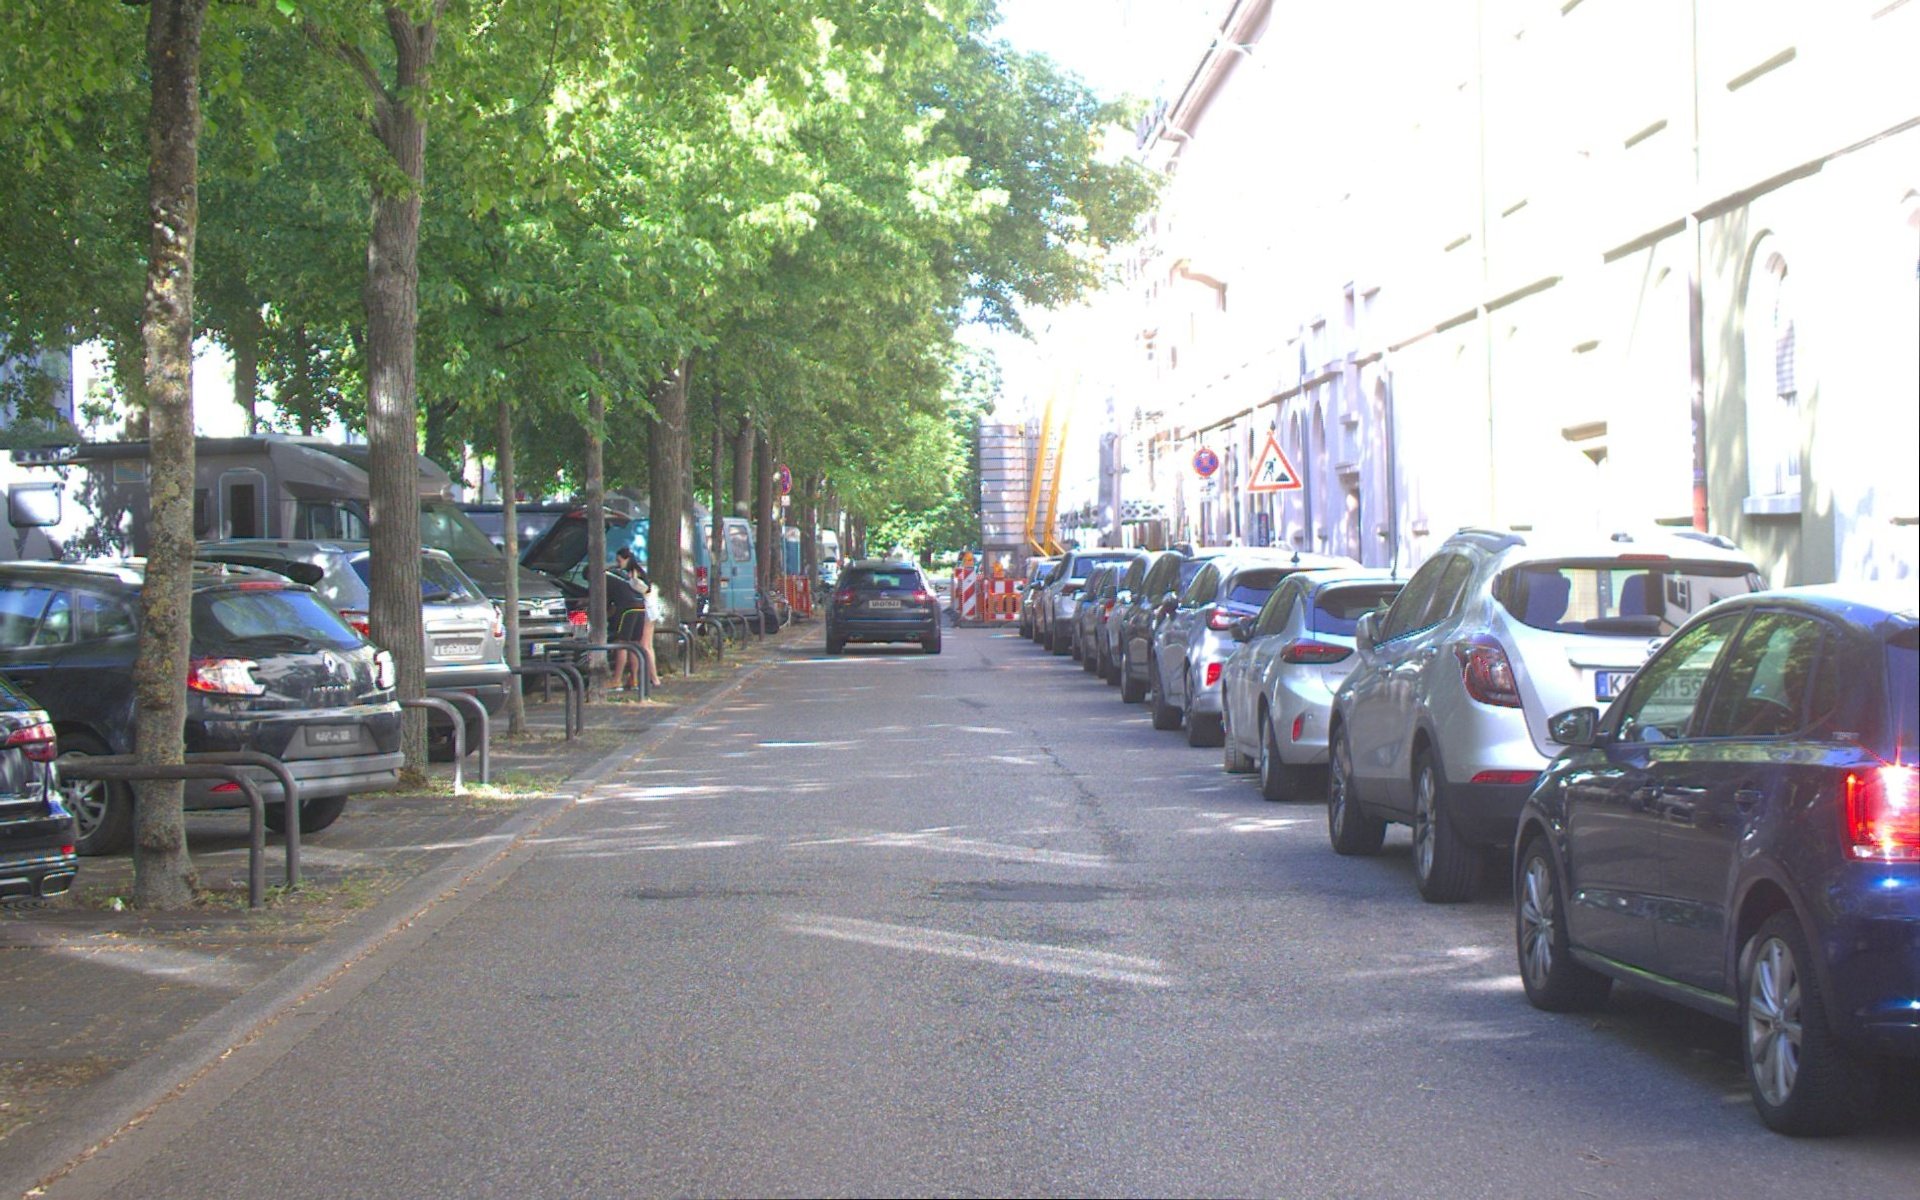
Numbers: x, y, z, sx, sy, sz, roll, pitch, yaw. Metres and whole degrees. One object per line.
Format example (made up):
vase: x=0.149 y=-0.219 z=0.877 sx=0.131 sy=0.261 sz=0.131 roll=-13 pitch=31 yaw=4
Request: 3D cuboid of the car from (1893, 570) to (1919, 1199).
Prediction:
car: x=2.822 y=0.695 z=5.276 sx=1.621 sy=1.493 sz=3.596 roll=-1 pitch=1 yaw=-3

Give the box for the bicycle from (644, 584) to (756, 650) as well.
bicycle: x=-4.196 y=0.266 z=55.546 sx=1.719 sy=1.002 sz=0.511 roll=-2 pitch=1 yaw=-30

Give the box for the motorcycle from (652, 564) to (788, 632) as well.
motorcycle: x=-4.703 y=-0.042 z=67.410 sx=2.550 sy=1.254 sz=0.762 roll=-1 pitch=1 yaw=7

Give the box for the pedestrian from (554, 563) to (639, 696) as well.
pedestrian: x=-4.044 y=0.323 z=38.272 sx=0.710 sy=1.451 sz=0.596 roll=-1 pitch=1 yaw=23

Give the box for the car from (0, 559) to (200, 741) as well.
car: x=-8.732 y=0.444 z=30.780 sx=3.539 sy=1.502 sz=1.754 roll=-1 pitch=1 yaw=33

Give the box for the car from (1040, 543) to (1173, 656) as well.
car: x=2.257 y=-0.046 z=54.099 sx=1.816 sy=1.668 sz=4.673 roll=-1 pitch=1 yaw=-1

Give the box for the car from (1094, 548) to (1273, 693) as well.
car: x=2.477 y=0.196 z=38.873 sx=1.630 sy=1.529 sz=3.593 roll=-1 pitch=1 yaw=-2

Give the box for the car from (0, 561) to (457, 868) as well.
car: x=-4.937 y=0.555 z=18.227 sx=4.417 sy=1.457 sz=1.713 roll=-1 pitch=0 yaw=32

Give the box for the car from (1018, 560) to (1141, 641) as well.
car: x=2.177 y=-0.011 z=63.852 sx=1.993 sy=1.404 sz=4.501 roll=-1 pitch=1 yaw=-2

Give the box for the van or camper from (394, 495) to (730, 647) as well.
van or camper: x=-7.363 y=-0.531 z=63.454 sx=5.877 sy=2.628 sz=2.252 roll=-1 pitch=1 yaw=29

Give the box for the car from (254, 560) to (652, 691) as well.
car: x=-5.845 y=0.301 z=39.567 sx=4.321 sy=1.419 sz=1.673 roll=-1 pitch=1 yaw=26

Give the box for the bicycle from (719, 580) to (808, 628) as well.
bicycle: x=-4.221 y=0.091 z=73.931 sx=1.899 sy=1.003 sz=0.430 roll=-1 pitch=1 yaw=23

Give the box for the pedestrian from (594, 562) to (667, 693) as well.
pedestrian: x=-3.721 y=0.307 z=38.802 sx=0.615 sy=1.451 sz=0.519 roll=-1 pitch=1 yaw=23

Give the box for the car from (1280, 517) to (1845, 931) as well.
car: x=2.704 y=0.483 z=16.368 sx=1.722 sy=1.680 sz=4.159 roll=-1 pitch=1 yaw=-3

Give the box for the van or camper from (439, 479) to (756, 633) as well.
van or camper: x=-8.094 y=-0.971 z=76.554 sx=6.666 sy=3.229 sz=2.492 roll=-1 pitch=1 yaw=28

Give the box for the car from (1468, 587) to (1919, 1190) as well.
car: x=2.734 y=0.691 z=10.309 sx=1.549 sy=1.389 sz=3.862 roll=-1 pitch=1 yaw=-4

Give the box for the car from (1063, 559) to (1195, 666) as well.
car: x=2.362 y=0.147 z=48.680 sx=1.617 sy=1.408 sz=3.788 roll=-1 pitch=1 yaw=-1

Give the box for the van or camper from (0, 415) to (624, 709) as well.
van or camper: x=-7.361 y=-0.359 z=37.102 sx=7.236 sy=2.919 sz=2.311 roll=-1 pitch=1 yaw=27

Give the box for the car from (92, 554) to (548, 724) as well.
car: x=-6.083 y=0.376 z=32.620 sx=3.993 sy=1.502 sz=1.755 roll=-1 pitch=1 yaw=28

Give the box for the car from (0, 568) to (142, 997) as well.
car: x=-5.307 y=0.653 z=12.660 sx=4.483 sy=1.450 sz=1.784 roll=-1 pitch=1 yaw=31

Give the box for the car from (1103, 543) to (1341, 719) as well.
car: x=2.504 y=0.254 z=33.744 sx=1.722 sy=1.591 sz=4.159 roll=-1 pitch=1 yaw=-4

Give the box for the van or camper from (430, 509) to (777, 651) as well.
van or camper: x=-6.136 y=-0.341 z=59.212 sx=5.504 sy=2.267 sz=2.218 roll=-1 pitch=1 yaw=23

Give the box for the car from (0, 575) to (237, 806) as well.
car: x=-6.986 y=0.535 z=23.076 sx=4.036 sy=1.398 sz=1.821 roll=1 pitch=1 yaw=32

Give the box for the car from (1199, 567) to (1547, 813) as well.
car: x=2.641 y=0.521 z=22.861 sx=1.722 sy=1.427 sz=4.158 roll=-1 pitch=1 yaw=-1

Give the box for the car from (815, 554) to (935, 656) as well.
car: x=-1.365 y=0.054 z=54.578 sx=1.797 sy=1.498 sz=3.586 roll=-2 pitch=1 yaw=-2

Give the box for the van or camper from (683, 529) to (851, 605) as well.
van or camper: x=-6.655 y=-1.133 z=118.239 sx=5.342 sy=2.466 sz=2.290 roll=-1 pitch=1 yaw=32

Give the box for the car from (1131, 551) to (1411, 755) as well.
car: x=2.490 y=0.379 z=28.474 sx=1.722 sy=1.523 sz=4.159 roll=-1 pitch=1 yaw=-3

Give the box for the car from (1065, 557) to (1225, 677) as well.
car: x=2.303 y=0.179 z=43.679 sx=1.630 sy=1.408 sz=4.089 roll=-1 pitch=1 yaw=-2

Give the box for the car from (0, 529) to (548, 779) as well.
car: x=-5.210 y=0.368 z=24.866 sx=4.140 sy=1.673 sz=1.756 roll=-1 pitch=1 yaw=28

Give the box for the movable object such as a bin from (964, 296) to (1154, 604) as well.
movable object such as a bin: x=2.235 y=-3.309 z=77.421 sx=3.485 sy=6.736 sz=2.364 roll=0 pitch=1 yaw=32
